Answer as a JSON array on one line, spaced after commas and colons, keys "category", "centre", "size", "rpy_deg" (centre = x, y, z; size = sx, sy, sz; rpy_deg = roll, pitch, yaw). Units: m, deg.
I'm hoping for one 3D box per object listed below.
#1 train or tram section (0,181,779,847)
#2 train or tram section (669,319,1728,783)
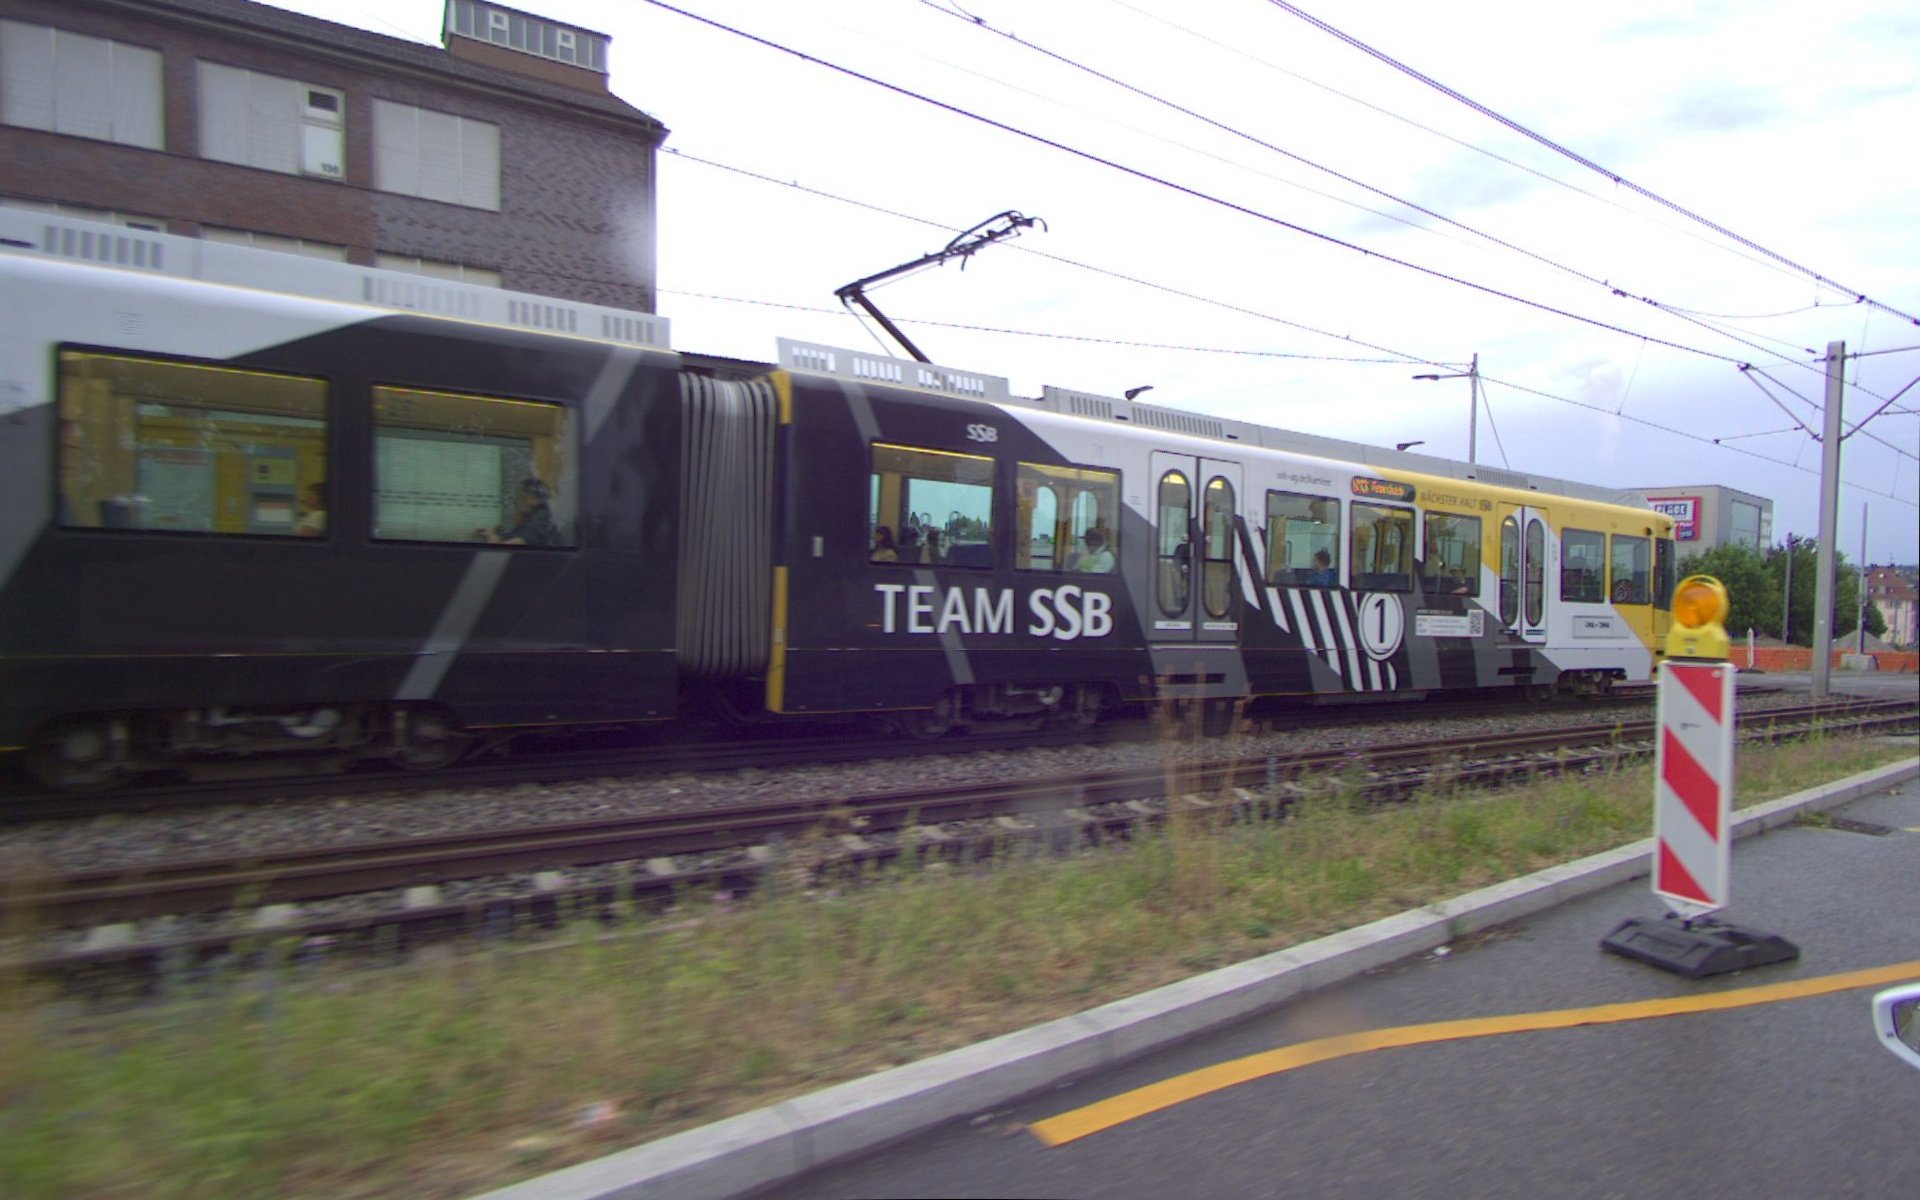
[{"category": "train or tram section", "centre": [-10.540, -0.651, 4.633], "size": [19.355, 3.938, 2.938], "rpy_deg": [1, 2, -32]}, {"category": "train or tram section", "centre": [5.625, -0.286, 14.992], "size": [19.083, 3.938, 2.937], "rpy_deg": [1, 2, -33]}]
